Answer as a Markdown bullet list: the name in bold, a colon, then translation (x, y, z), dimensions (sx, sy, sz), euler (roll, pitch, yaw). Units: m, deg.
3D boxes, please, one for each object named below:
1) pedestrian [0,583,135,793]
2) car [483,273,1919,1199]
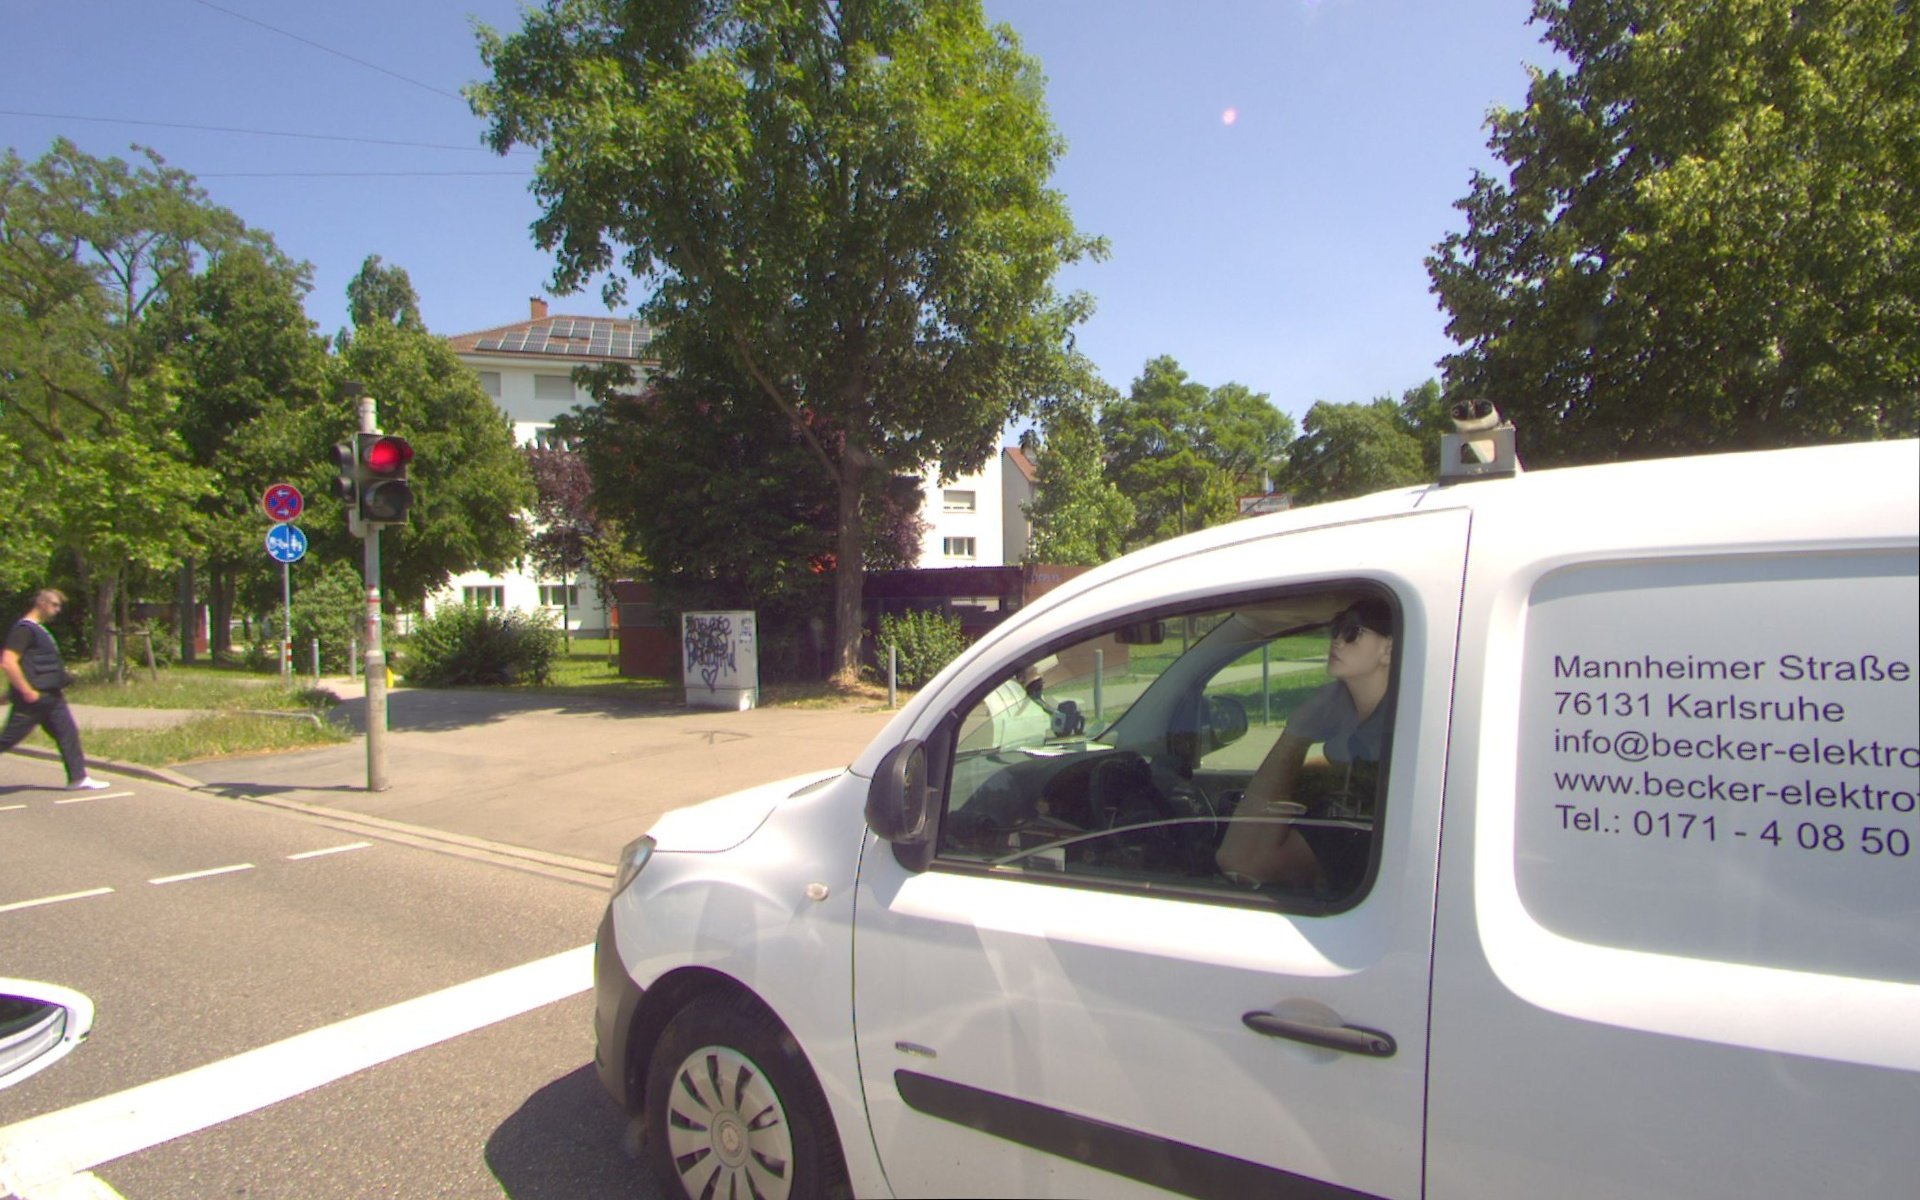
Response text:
- **pedestrian**: translation (-8.275, 0.770, 9.001), dimensions (1.170, 1.800, 0.836), euler (0, -2, -27)
- **car**: translation (1.120, 0.570, 2.306), dimensions (4.384, 1.850, 1.990), euler (-1, 0, 32)
